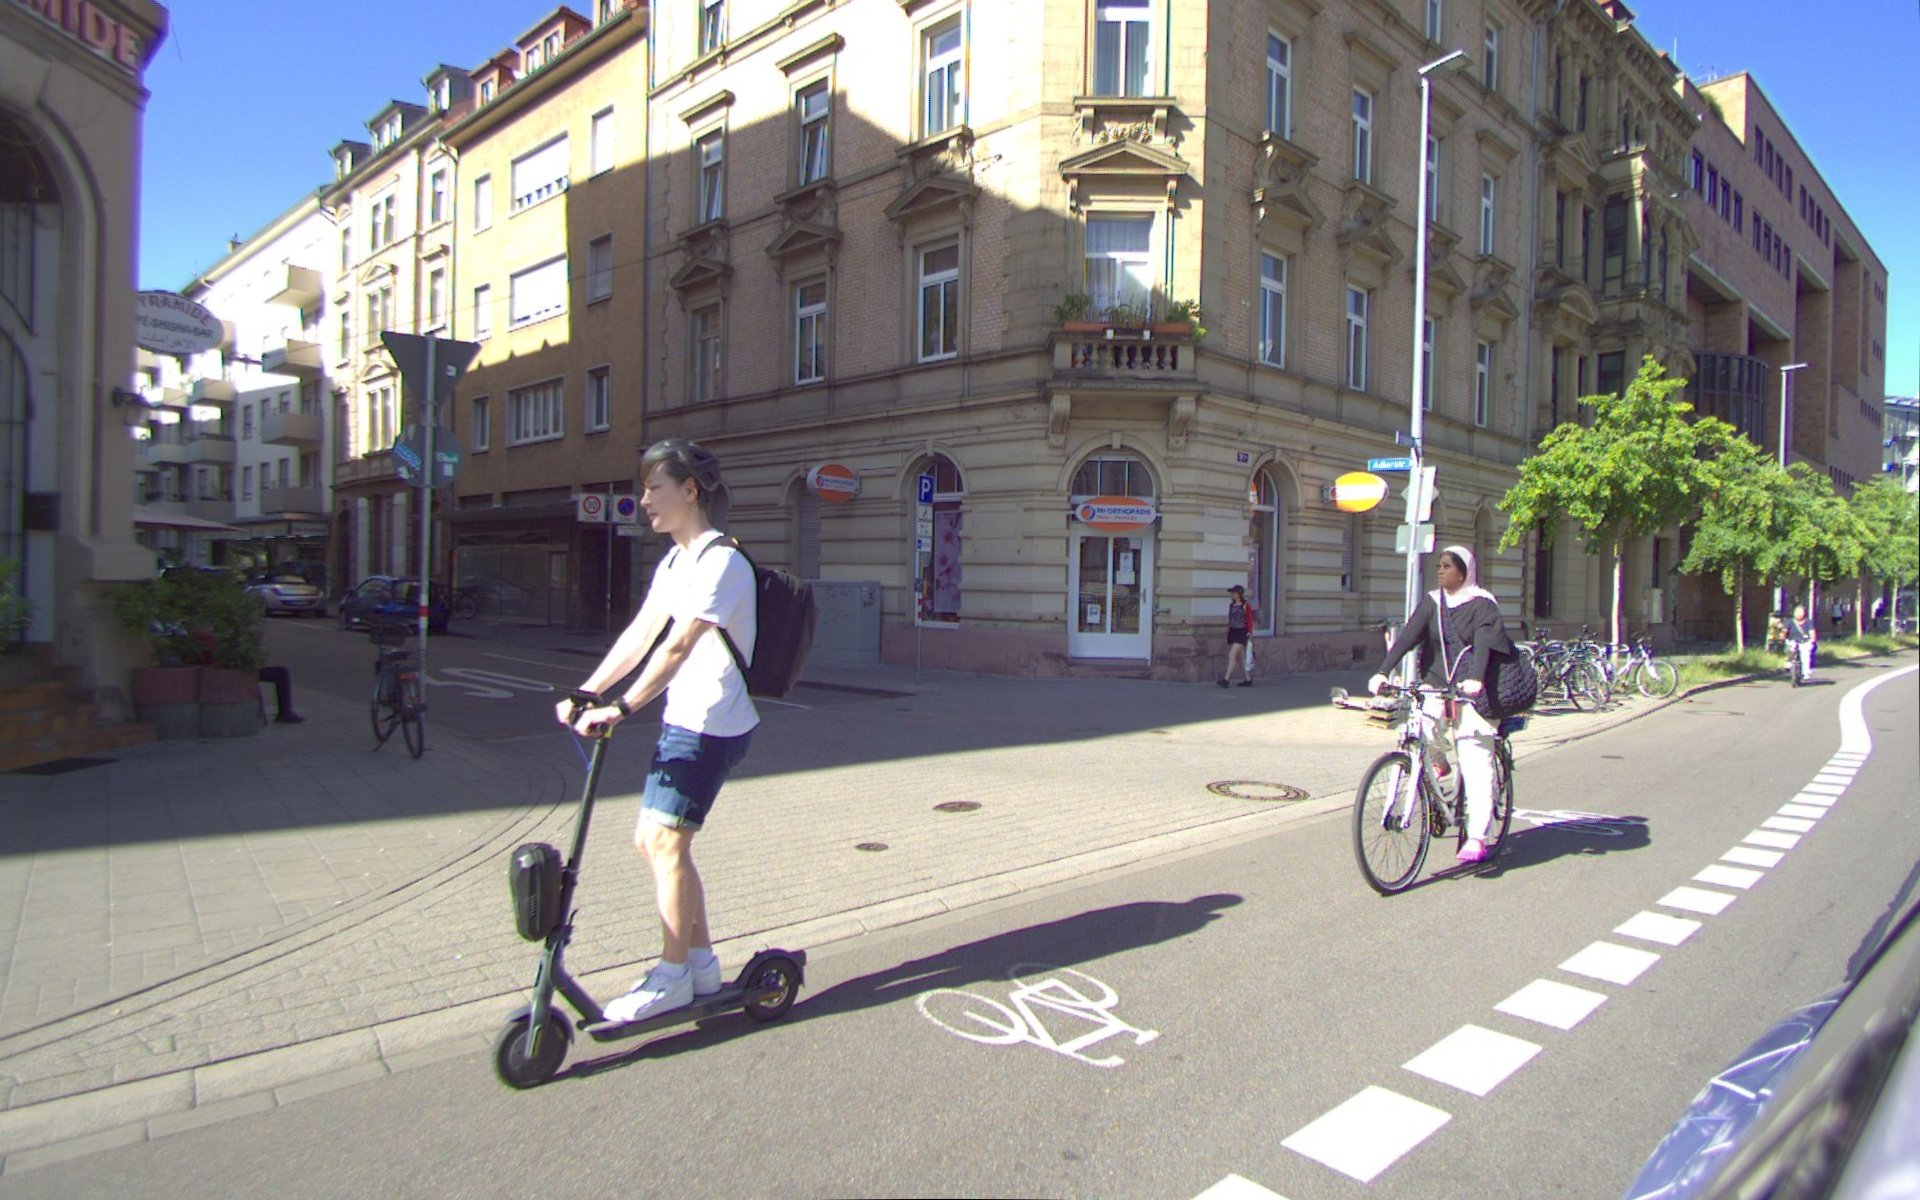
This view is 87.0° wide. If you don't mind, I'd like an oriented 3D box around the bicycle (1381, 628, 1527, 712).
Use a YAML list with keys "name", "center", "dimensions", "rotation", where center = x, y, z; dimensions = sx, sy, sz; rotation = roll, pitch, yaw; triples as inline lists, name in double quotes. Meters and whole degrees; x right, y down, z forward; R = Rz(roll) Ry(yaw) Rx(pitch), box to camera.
- name: "bicycle"
  center: [6.647, 0.915, 13.699]
  dimensions: [0.595, 0.955, 1.677]
  rotation: [1, 1, -33]

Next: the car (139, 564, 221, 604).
- name: "car"
  center: [-30.109, -0.641, 39.053]
  dimensions: [3.757, 1.450, 1.776]
  rotation: [2, 1, 40]

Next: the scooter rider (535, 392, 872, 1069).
- name: "scooter rider"
  center: [-0.846, 0.362, 3.370]
  dimensions: [0.885, 1.884, 0.667]
  rotation: [1, -1, -41]

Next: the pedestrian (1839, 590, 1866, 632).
- name: "pedestrian"
  center: [41.550, 0.497, 47.123]
  dimensions: [1.087, 1.906, 0.789]
  rotation: [0, 1, -41]

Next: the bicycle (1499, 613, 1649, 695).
- name: "bicycle"
  center: [10.285, 0.871, 17.023]
  dimensions: [0.697, 1.142, 2.001]
  rotation: [1, 3, -39]

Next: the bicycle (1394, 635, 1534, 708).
- name: "bicycle"
  center: [7.050, 0.976, 14.236]
  dimensions: [0.595, 0.831, 1.677]
  rotation: [1, 2, -33]

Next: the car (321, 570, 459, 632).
- name: "car"
  center: [-14.685, 0.003, 26.003]
  dimensions: [3.983, 1.438, 1.775]
  rotation: [2, -1, 40]

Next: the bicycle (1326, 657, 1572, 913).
- name: "bicycle"
  center: [2.699, 0.903, 5.498]
  dimensions: [1.761, 1.106, 0.558]
  rotation: [0, -1, -42]

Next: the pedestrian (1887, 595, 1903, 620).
- name: "pedestrian"
  center: [57.839, 0.454, 62.627]
  dimensions: [0.723, 1.505, 0.633]
  rotation: [0, 1, -41]

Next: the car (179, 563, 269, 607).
- name: "car"
  center: [-26.034, -0.539, 35.763]
  dimensions: [3.757, 1.450, 1.776]
  rotation: [2, 1, 40]

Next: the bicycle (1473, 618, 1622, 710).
- name: "bicycle"
  center: [8.519, 0.891, 14.742]
  dimensions: [0.595, 1.114, 1.729]
  rotation: [1, 3, -37]

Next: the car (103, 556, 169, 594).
- name: "car"
  center: [-37.556, -1.147, 46.112]
  dimensions: [3.758, 1.686, 1.775]
  rotation: [2, 1, 42]

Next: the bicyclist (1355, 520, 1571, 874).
- name: "bicyclist"
  center: [2.746, 0.478, 5.535]
  dimensions: [0.853, 1.733, 0.780]
  rotation: [1, -1, -41]

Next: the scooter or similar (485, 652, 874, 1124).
- name: "scooter or similar"
  center: [-0.895, 0.822, 3.362]
  dimensions: [1.150, 1.242, 0.491]
  rotation: [0, -1, -41]

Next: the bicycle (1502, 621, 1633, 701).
- name: "bicycle"
  center: [9.527, 0.931, 15.918]
  dimensions: [0.595, 1.058, 1.605]
  rotation: [1, 3, -37]

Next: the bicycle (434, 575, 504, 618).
- name: "bicycle"
  center: [-14.413, -0.111, 29.723]
  dimensions: [1.988, 1.193, 0.629]
  rotation: [1, 1, 19]

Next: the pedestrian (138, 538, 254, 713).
- name: "pedestrian"
  center: [-8.274, 0.257, 10.958]
  dimensions: [0.906, 1.783, 0.854]
  rotation: [0, 0, 43]

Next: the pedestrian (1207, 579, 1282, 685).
- name: "pedestrian"
  center: [4.359, 0.467, 15.505]
  dimensions: [0.911, 1.561, 0.710]
  rotation: [0, 1, -41]

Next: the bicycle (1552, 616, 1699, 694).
- name: "bicycle"
  center: [11.510, 0.923, 17.548]
  dimensions: [1.993, 1.106, 0.835]
  rotation: [5, 3, 40]

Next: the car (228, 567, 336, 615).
- name: "car"
  center: [-21.300, -0.300, 31.746]
  dimensions: [3.983, 1.351, 1.775]
  rotation: [2, -1, 40]

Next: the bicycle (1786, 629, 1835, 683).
- name: "bicycle"
  center: [17.627, 1.138, 20.972]
  dimensions: [1.481, 1.040, 0.558]
  rotation: [0, -1, -41]

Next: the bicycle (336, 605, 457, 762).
- name: "bicycle"
  center: [-5.025, 0.690, 8.972]
  dimensions: [0.641, 1.186, 1.823]
  rotation: [5, -1, -36]

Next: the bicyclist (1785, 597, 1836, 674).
- name: "bicyclist"
  center: [17.650, 0.722, 21.008]
  dimensions: [0.893, 1.557, 0.658]
  rotation: [1, -1, -41]

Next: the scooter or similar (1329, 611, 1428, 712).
- name: "scooter or similar"
  center: [5.381, 0.766, 13.059]
  dimensions: [0.411, 1.204, 1.115]
  rotation: [1, 1, -33]

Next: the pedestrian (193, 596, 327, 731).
- name: "pedestrian"
  center: [-6.839, 0.581, 9.896]
  dimensions: [0.849, 1.229, 0.920]
  rotation: [0, 0, 43]
